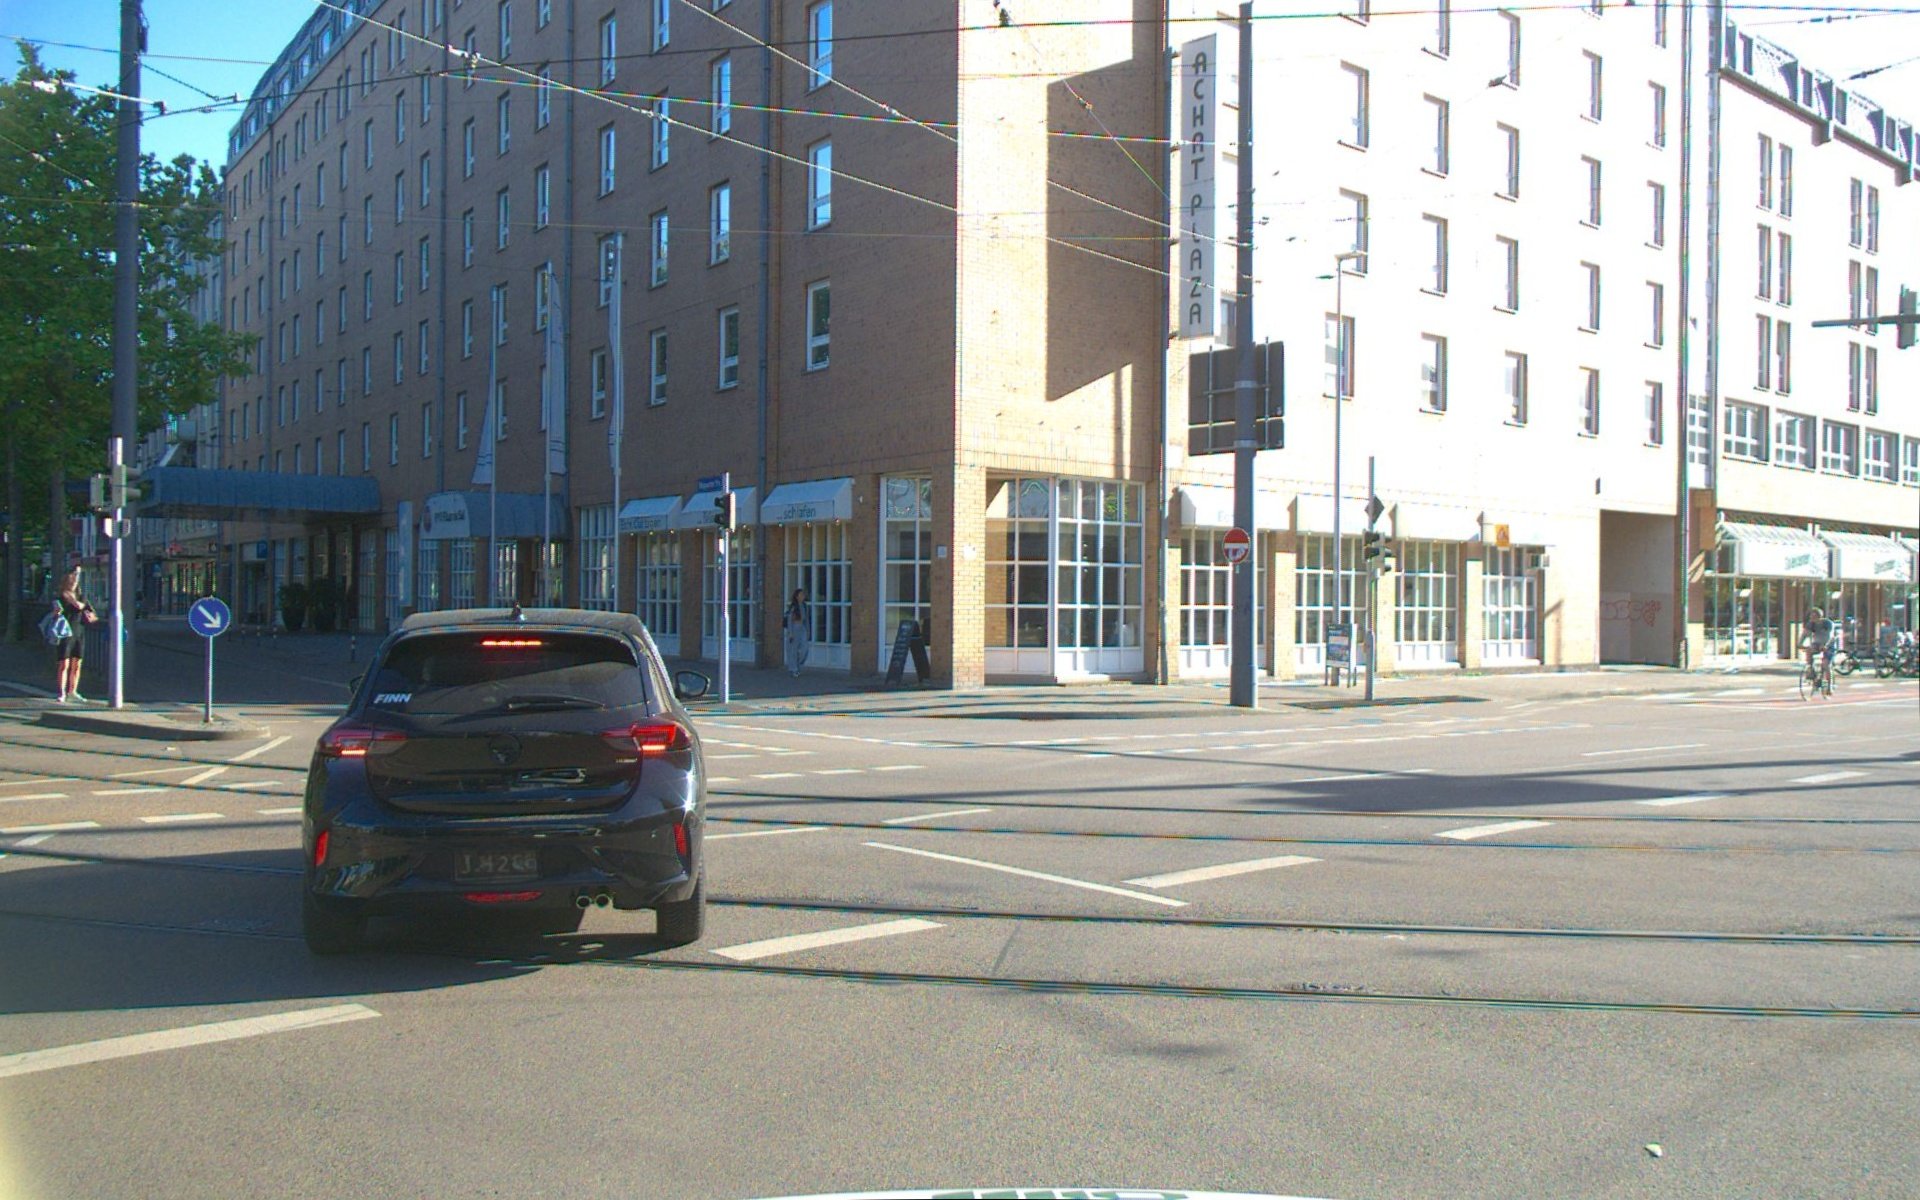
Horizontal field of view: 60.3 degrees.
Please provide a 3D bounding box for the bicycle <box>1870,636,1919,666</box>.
[{"bbox_3d":[27.348,1.469,47.676,0.476,0.860,2.019,0,-1,-30],"label":"bicycle"}]

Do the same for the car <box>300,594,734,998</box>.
[{"bbox_3d":[-2.125,0.742,8.269,1.643,1.528,3.678,0,0,-13],"label":"car"}]

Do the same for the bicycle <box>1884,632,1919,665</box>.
[{"bbox_3d":[28.315,1.425,48.629,0.476,0.937,2.019,0,-1,-30],"label":"bicycle"}]

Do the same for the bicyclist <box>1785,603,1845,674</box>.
[{"bbox_3d":[17.261,0.764,33.378,0.918,1.401,0.799,0,-1,-43],"label":"bicyclist"}]

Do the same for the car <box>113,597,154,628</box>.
[{"bbox_3d":[-45.153,0.662,90.310,1.656,1.681,3.650,0,0,-32],"label":"car"}]

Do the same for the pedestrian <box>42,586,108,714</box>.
[{"bbox_3d":[-12.164,0.669,22.759,0.705,1.709,0.825,-2,0,-25],"label":"pedestrian"}]

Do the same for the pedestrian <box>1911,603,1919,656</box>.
[{"bbox_3d":[32.936,1.002,56.407,0.560,1.795,0.709,0,-1,-39],"label":"pedestrian"}]

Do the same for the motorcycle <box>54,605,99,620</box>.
[{"bbox_3d":[-63.335,0.873,118.572,3.028,1.077,1.307,0,0,27],"label":"motorcycle"}]

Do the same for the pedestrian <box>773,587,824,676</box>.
[{"bbox_3d":[-3.138,0.604,32.113,0.732,1.695,0.745,-1,0,-33],"label":"pedestrian"}]

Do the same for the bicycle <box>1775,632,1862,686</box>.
[{"bbox_3d":[17.411,1.175,33.510,2.488,1.008,0.799,0,-1,-43],"label":"bicycle"}]

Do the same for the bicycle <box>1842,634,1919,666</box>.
[{"bbox_3d":[26.059,1.398,46.776,0.476,0.860,2.019,0,-1,-30],"label":"bicycle"}]
